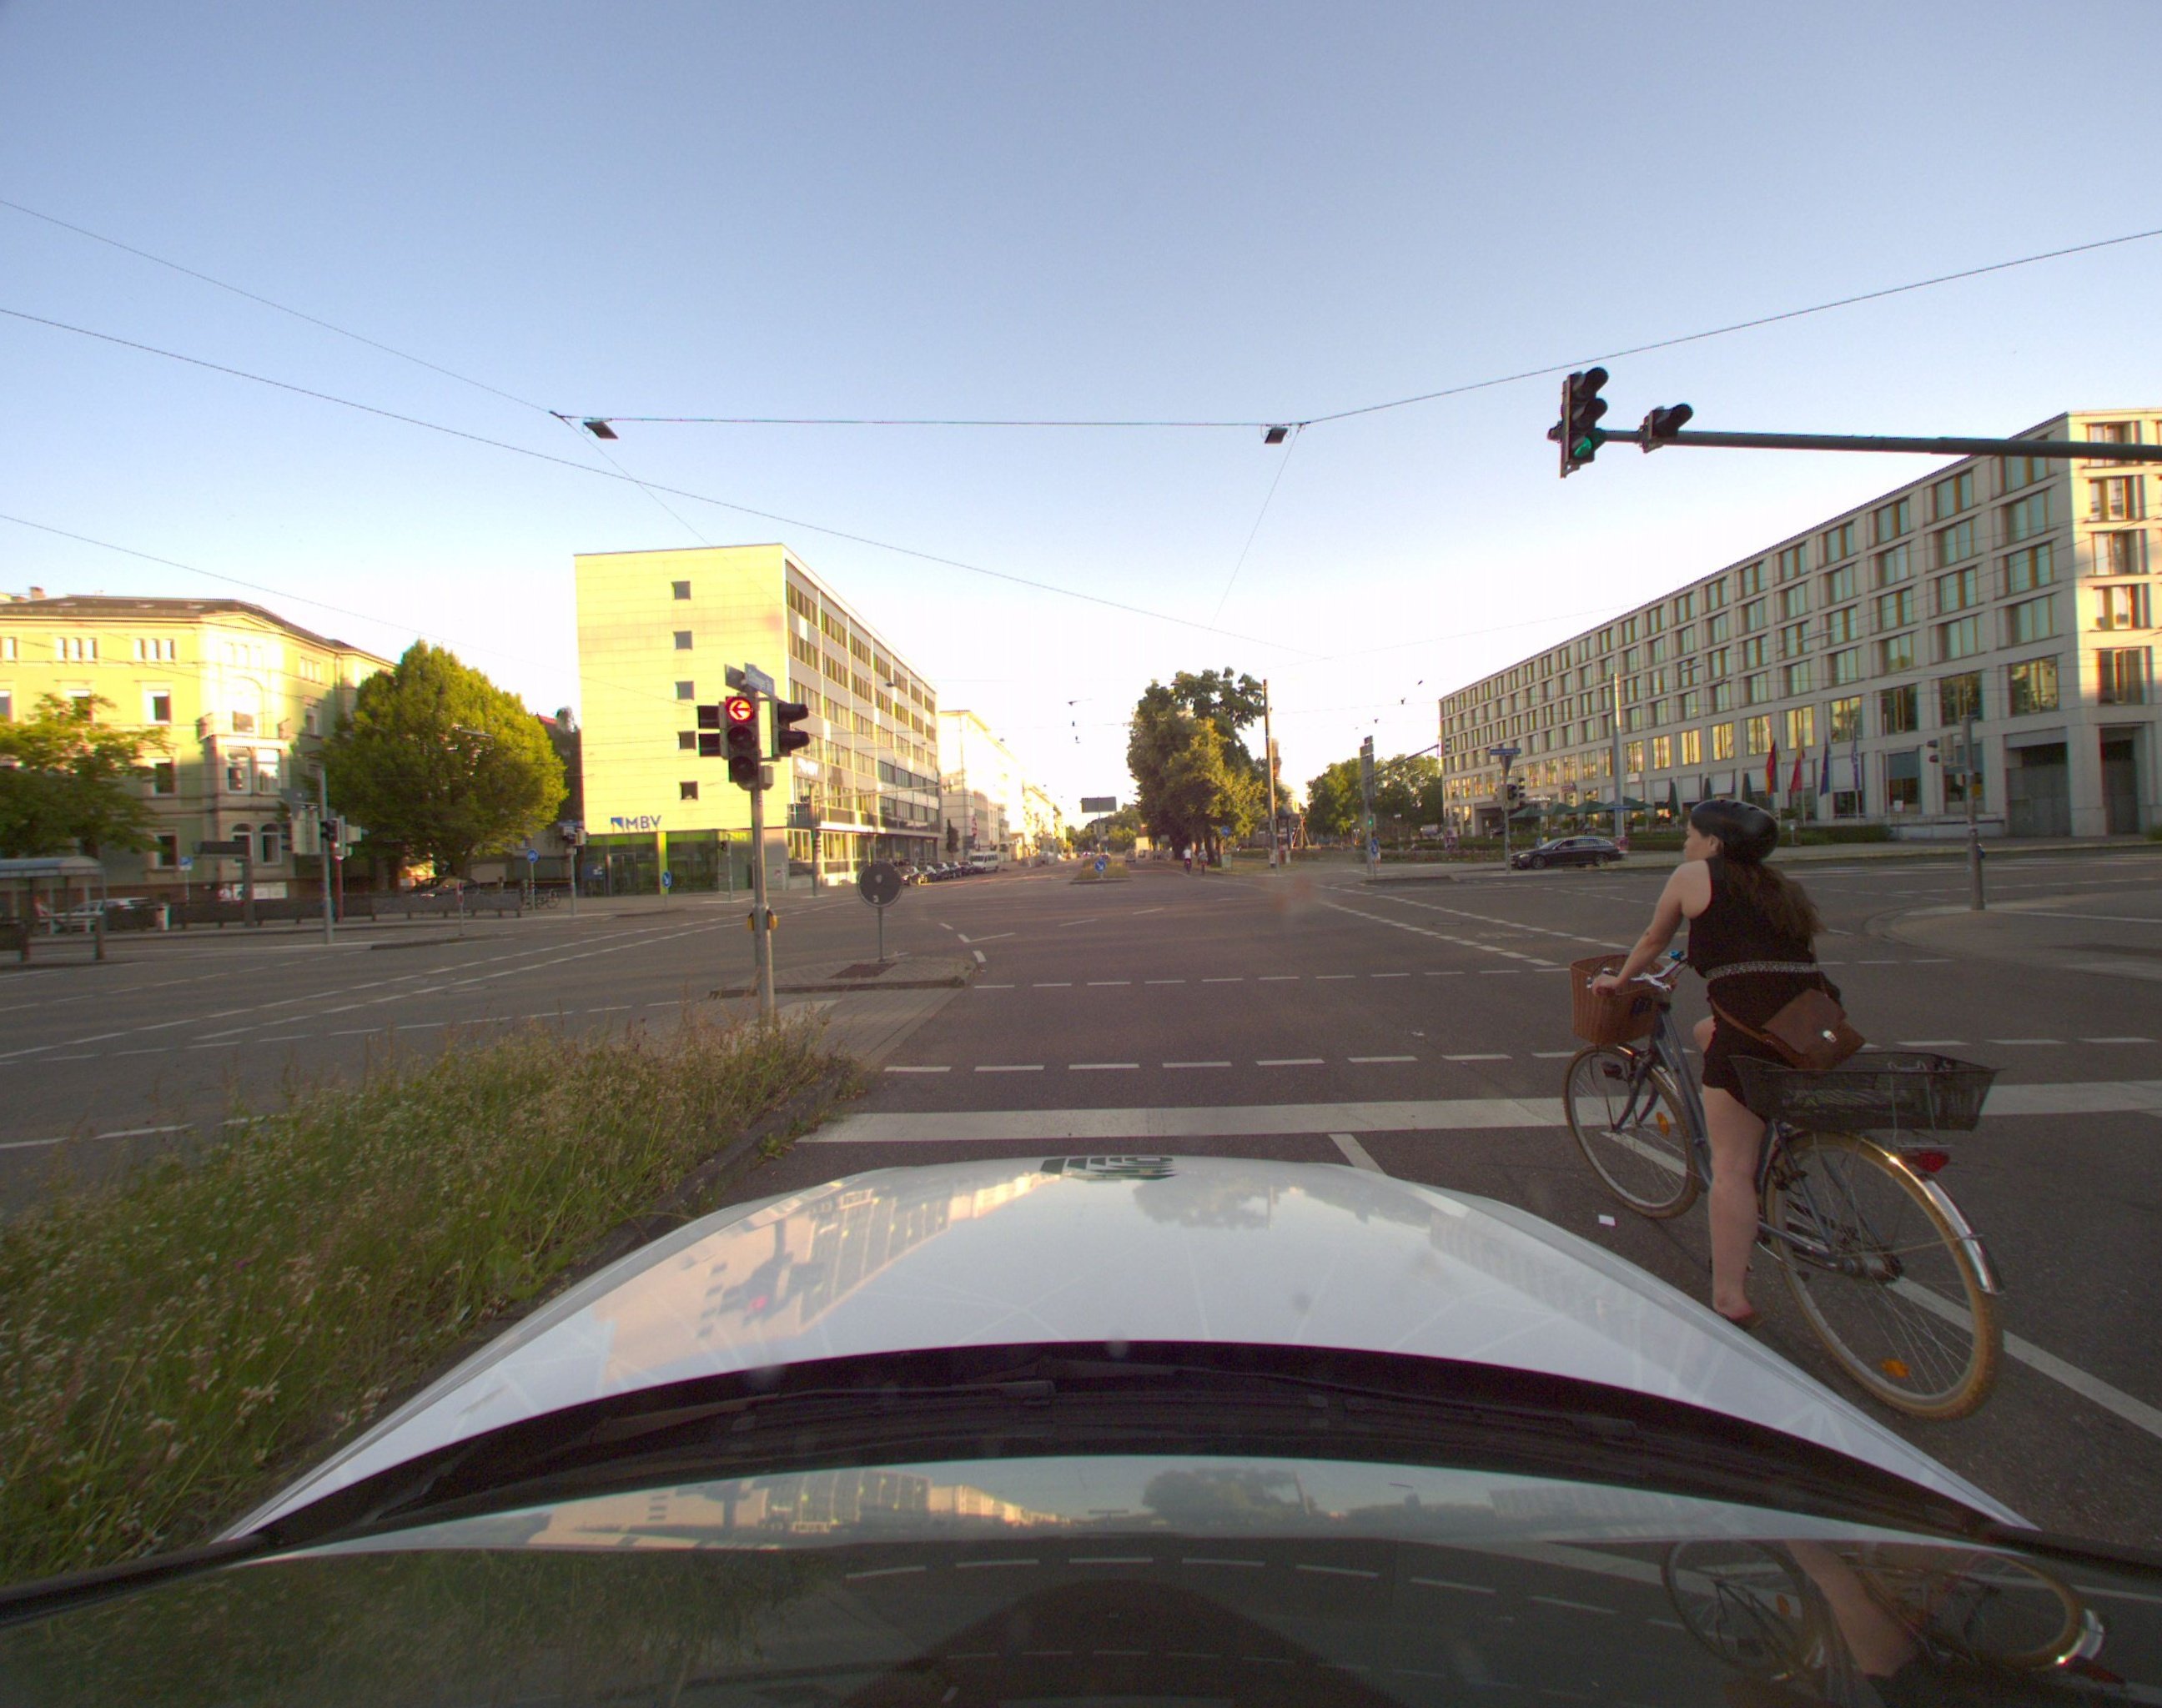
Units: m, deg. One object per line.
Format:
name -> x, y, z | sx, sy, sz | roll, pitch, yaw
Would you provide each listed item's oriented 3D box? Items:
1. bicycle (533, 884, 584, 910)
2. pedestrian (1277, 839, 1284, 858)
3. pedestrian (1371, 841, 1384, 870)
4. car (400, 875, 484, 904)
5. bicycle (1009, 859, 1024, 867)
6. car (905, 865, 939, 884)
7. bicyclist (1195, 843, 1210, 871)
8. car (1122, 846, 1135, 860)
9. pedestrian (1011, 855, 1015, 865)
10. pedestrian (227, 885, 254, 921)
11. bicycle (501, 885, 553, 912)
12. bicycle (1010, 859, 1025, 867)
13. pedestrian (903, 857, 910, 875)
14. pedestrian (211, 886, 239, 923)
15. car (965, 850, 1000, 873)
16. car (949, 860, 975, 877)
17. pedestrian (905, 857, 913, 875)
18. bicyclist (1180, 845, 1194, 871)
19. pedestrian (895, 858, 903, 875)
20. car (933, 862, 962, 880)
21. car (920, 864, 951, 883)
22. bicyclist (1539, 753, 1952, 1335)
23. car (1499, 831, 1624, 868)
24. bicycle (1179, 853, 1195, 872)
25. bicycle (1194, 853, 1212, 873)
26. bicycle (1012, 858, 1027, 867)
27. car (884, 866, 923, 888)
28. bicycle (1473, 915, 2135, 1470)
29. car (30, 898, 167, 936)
bicycle -> -25.596, 2.076, 39.951 | 0.832, 1.112, 2.216 | -3, 0, 6
pedestrian -> 17.879, -0.510, 72.961 | 0.458, 1.656, 0.567 | -3, 0, 1
pedestrian -> 16.129, 0.061, 44.271 | 0.489, 1.540, 0.408 | -3, 0, 1
car -> -35.923, 1.970, 45.914 | 1.830, 1.372, 3.594 | -3, 0, 0
bicycle -> -10.016, 1.395, 125.931 | 2.198, 1.112, 0.619 | -3, 0, 0
car -> -13.372, 1.700, 68.901 | 1.913, 1.464, 4.002 | -3, 0, 2
bicyclist -> 7.578, 0.192, 50.688 | 0.744, 1.691, 0.799 | -3, 0, 1
car -> 6.016, -0.140, 103.975 | 1.403, 1.641, 4.000 | -3, 0, 1
pedestrian -> -13.758, 1.234, 165.511 | 0.677, 2.013, 0.545 | -3, 0, 1
pedestrian -> -44.063, 2.569, 42.684 | 0.641, 1.790, 0.720 | -3, 0, -12
bicycle -> -27.097, 2.164, 39.895 | 0.832, 1.112, 2.216 | -3, 0, 6
bicycle -> -9.905, 1.396, 127.411 | 2.198, 1.112, 0.689 | -3, 0, 0
pedestrian -> -16.979, 1.162, 79.103 | 0.498, 1.679, 0.500 | -3, 0, 1
pedestrian -> -43.985, 2.581, 41.842 | 0.641, 1.790, 0.720 | -3, 0, -12
car -> -11.039, 0.807, 91.656 | 1.988, 2.478, 5.888 | -3, 0, 12
car -> -12.453, 1.508, 85.239 | 1.913, 1.568, 4.002 | -3, 0, 2
pedestrian -> -16.578, 1.165, 78.439 | 0.549, 1.679, 0.500 | -3, 0, 1
bicyclist -> 7.001, 0.243, 53.664 | 0.744, 1.663, 0.873 | -3, 0, 1
pedestrian -> -17.631, 1.207, 78.818 | 0.549, 1.679, 0.500 | -3, 0, 1
car -> -12.917, 1.632, 79.016 | 1.913, 1.568, 4.002 | -3, 0, 2
car -> -13.167, 1.740, 73.714 | 1.913, 1.464, 4.002 | -3, 0, 2
bicyclist -> 2.156, 0.536, 2.799 | 0.597, 1.636, 0.999 | -1, 0, 2
car -> 23.092, -0.207, 39.284 | 4.803, 1.515, 2.002 | -3, 0, 3
bicycle -> 7.048, 0.551, 54.314 | 0.744, 1.144, 2.506 | -3, 0, 2
bicycle -> 7.597, 0.549, 50.681 | 0.744, 1.144, 2.506 | -3, 0, 2
bicycle -> -9.743, 1.329, 129.327 | 2.198, 1.236, 0.839 | -3, 0, 0
car -> -13.566, 1.710, 62.353 | 1.913, 1.464, 4.105 | -3, 0, 2
bicycle -> 2.161, 0.861, 2.894 | 0.609, 1.132, 2.005 | -1, 0, 2
car -> -45.300, 2.875, 37.640 | 3.588, 1.372, 1.833 | -3, 0, -15
